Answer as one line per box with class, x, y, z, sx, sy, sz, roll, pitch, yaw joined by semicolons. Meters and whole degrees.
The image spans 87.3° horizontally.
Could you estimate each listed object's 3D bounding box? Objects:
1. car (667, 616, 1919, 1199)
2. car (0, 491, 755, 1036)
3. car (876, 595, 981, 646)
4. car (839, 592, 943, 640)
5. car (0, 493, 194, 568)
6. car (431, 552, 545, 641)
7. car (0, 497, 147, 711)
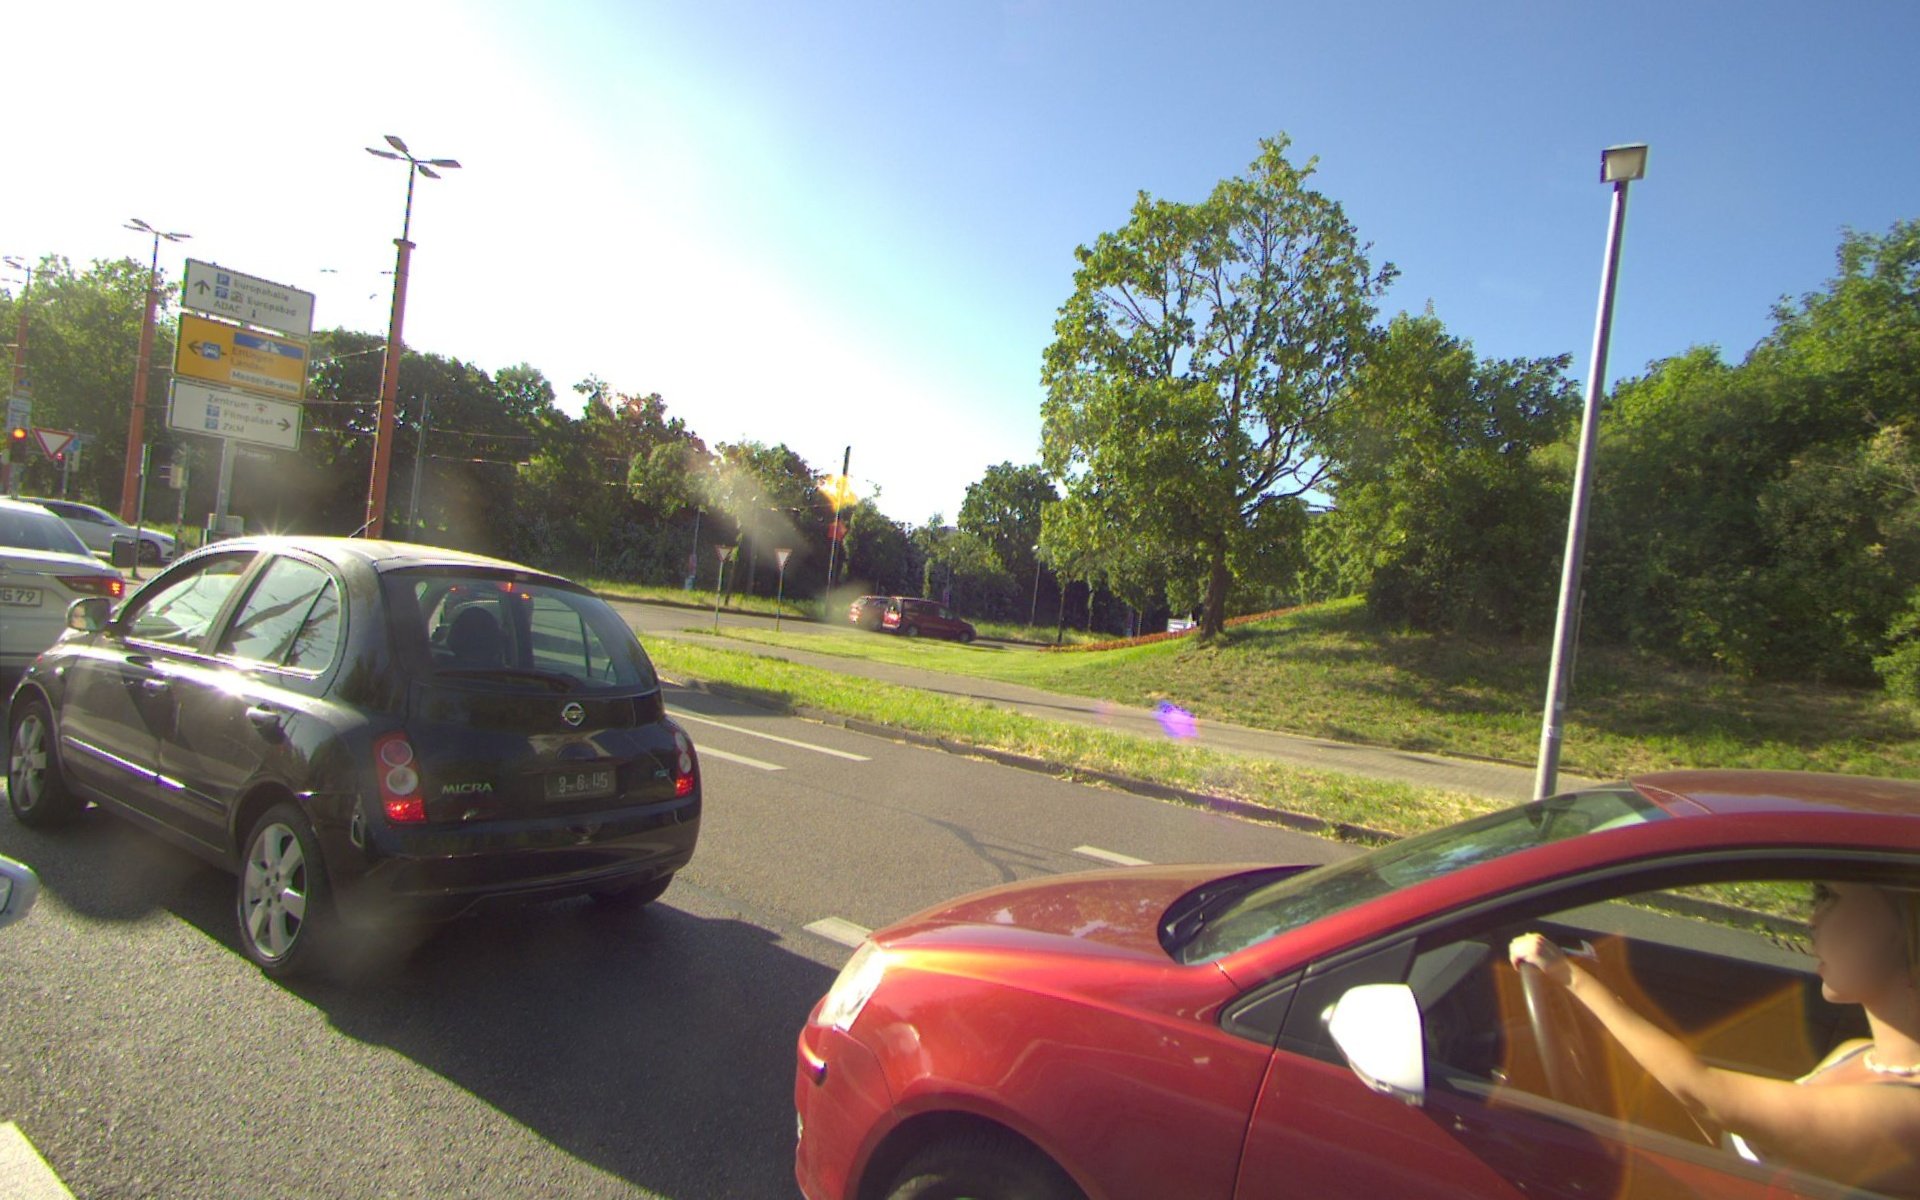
car;1.354;0.988;1.900;3.634;1.434;1.624;7;-1;34
car;-2.838;0.462;4.631;3.457;1.524;1.558;7;0;32
car;-1.429;0.951;46.068;4.312;1.753;1.828;8;-1;-31
car;-3.297;0.765;48.420;4.514;1.688;1.829;8;-1;-29
car;-26.616;-2.108;30.641;4.877;1.594;1.985;8;-1;-30
car;-9.914;-0.131;20.977;1.732;1.486;3.863;7;-1;-30
car;-8.363;-0.165;7.984;4.077;1.472;1.717;7;-1;33
